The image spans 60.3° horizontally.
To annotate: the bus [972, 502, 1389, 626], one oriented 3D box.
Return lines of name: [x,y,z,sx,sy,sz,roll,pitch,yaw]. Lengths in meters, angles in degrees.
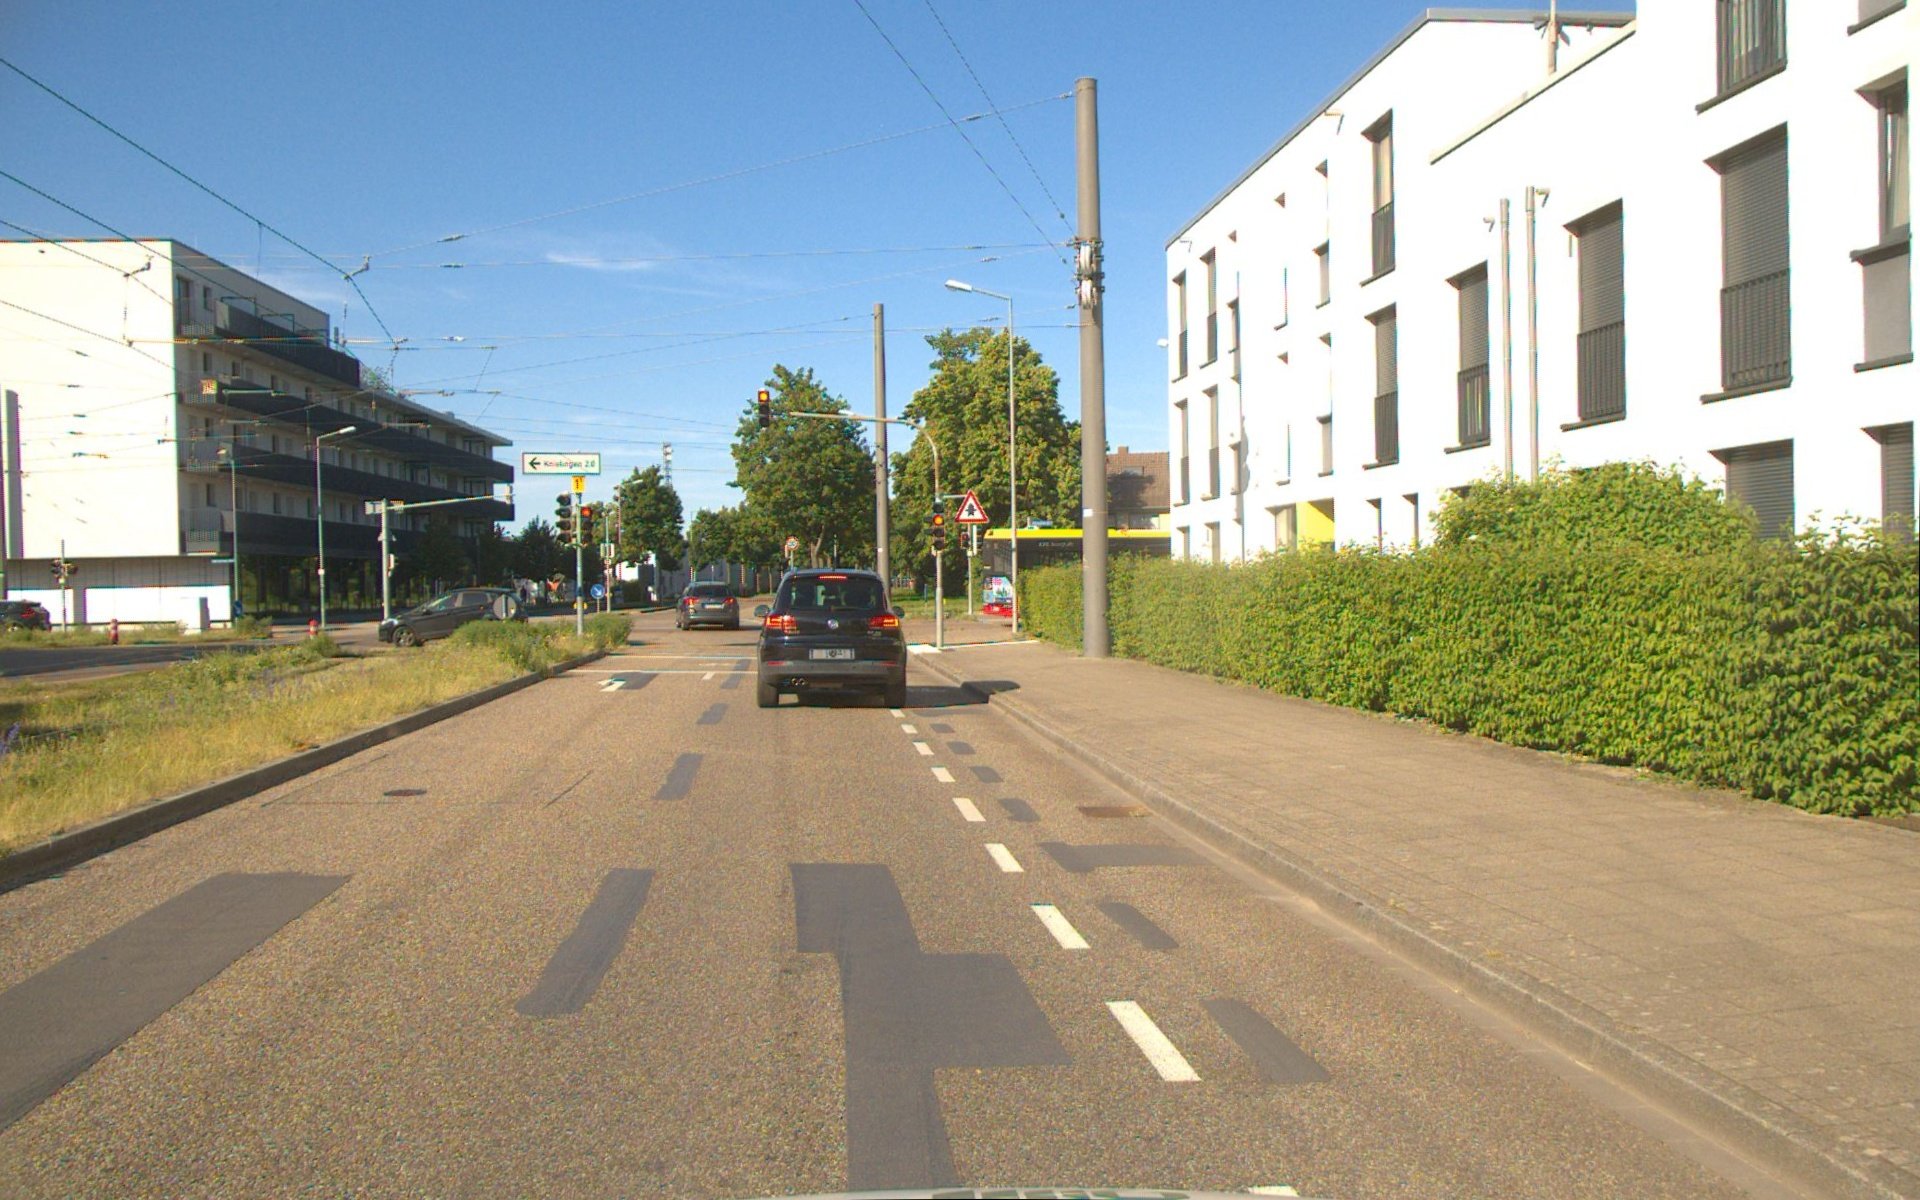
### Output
bus: [7.490,-1.067,54.378,14.453,3.735,2.825,0,0,-26]

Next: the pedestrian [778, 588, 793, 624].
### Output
pedestrian: [-8.110,0.282,76.889,0.590,1.668,0.529,1,0,-1]

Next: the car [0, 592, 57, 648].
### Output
car: [-36.710,0.792,62.956,3.952,2.049,1.977,-2,1,-34]

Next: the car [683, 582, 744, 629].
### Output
car: [-7.700,0.142,51.924,1.717,1.411,3.995,1,0,-7]

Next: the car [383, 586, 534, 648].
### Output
car: [-13.579,0.442,44.989,3.660,1.455,1.705,-3,1,-10]

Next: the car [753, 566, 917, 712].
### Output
car: [-1.655,0.433,21.072,1.869,1.671,3.995,1,0,-7]

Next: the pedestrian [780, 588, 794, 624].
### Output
pedestrian: [-8.091,0.277,77.435,0.590,1.668,0.529,1,0,-1]
